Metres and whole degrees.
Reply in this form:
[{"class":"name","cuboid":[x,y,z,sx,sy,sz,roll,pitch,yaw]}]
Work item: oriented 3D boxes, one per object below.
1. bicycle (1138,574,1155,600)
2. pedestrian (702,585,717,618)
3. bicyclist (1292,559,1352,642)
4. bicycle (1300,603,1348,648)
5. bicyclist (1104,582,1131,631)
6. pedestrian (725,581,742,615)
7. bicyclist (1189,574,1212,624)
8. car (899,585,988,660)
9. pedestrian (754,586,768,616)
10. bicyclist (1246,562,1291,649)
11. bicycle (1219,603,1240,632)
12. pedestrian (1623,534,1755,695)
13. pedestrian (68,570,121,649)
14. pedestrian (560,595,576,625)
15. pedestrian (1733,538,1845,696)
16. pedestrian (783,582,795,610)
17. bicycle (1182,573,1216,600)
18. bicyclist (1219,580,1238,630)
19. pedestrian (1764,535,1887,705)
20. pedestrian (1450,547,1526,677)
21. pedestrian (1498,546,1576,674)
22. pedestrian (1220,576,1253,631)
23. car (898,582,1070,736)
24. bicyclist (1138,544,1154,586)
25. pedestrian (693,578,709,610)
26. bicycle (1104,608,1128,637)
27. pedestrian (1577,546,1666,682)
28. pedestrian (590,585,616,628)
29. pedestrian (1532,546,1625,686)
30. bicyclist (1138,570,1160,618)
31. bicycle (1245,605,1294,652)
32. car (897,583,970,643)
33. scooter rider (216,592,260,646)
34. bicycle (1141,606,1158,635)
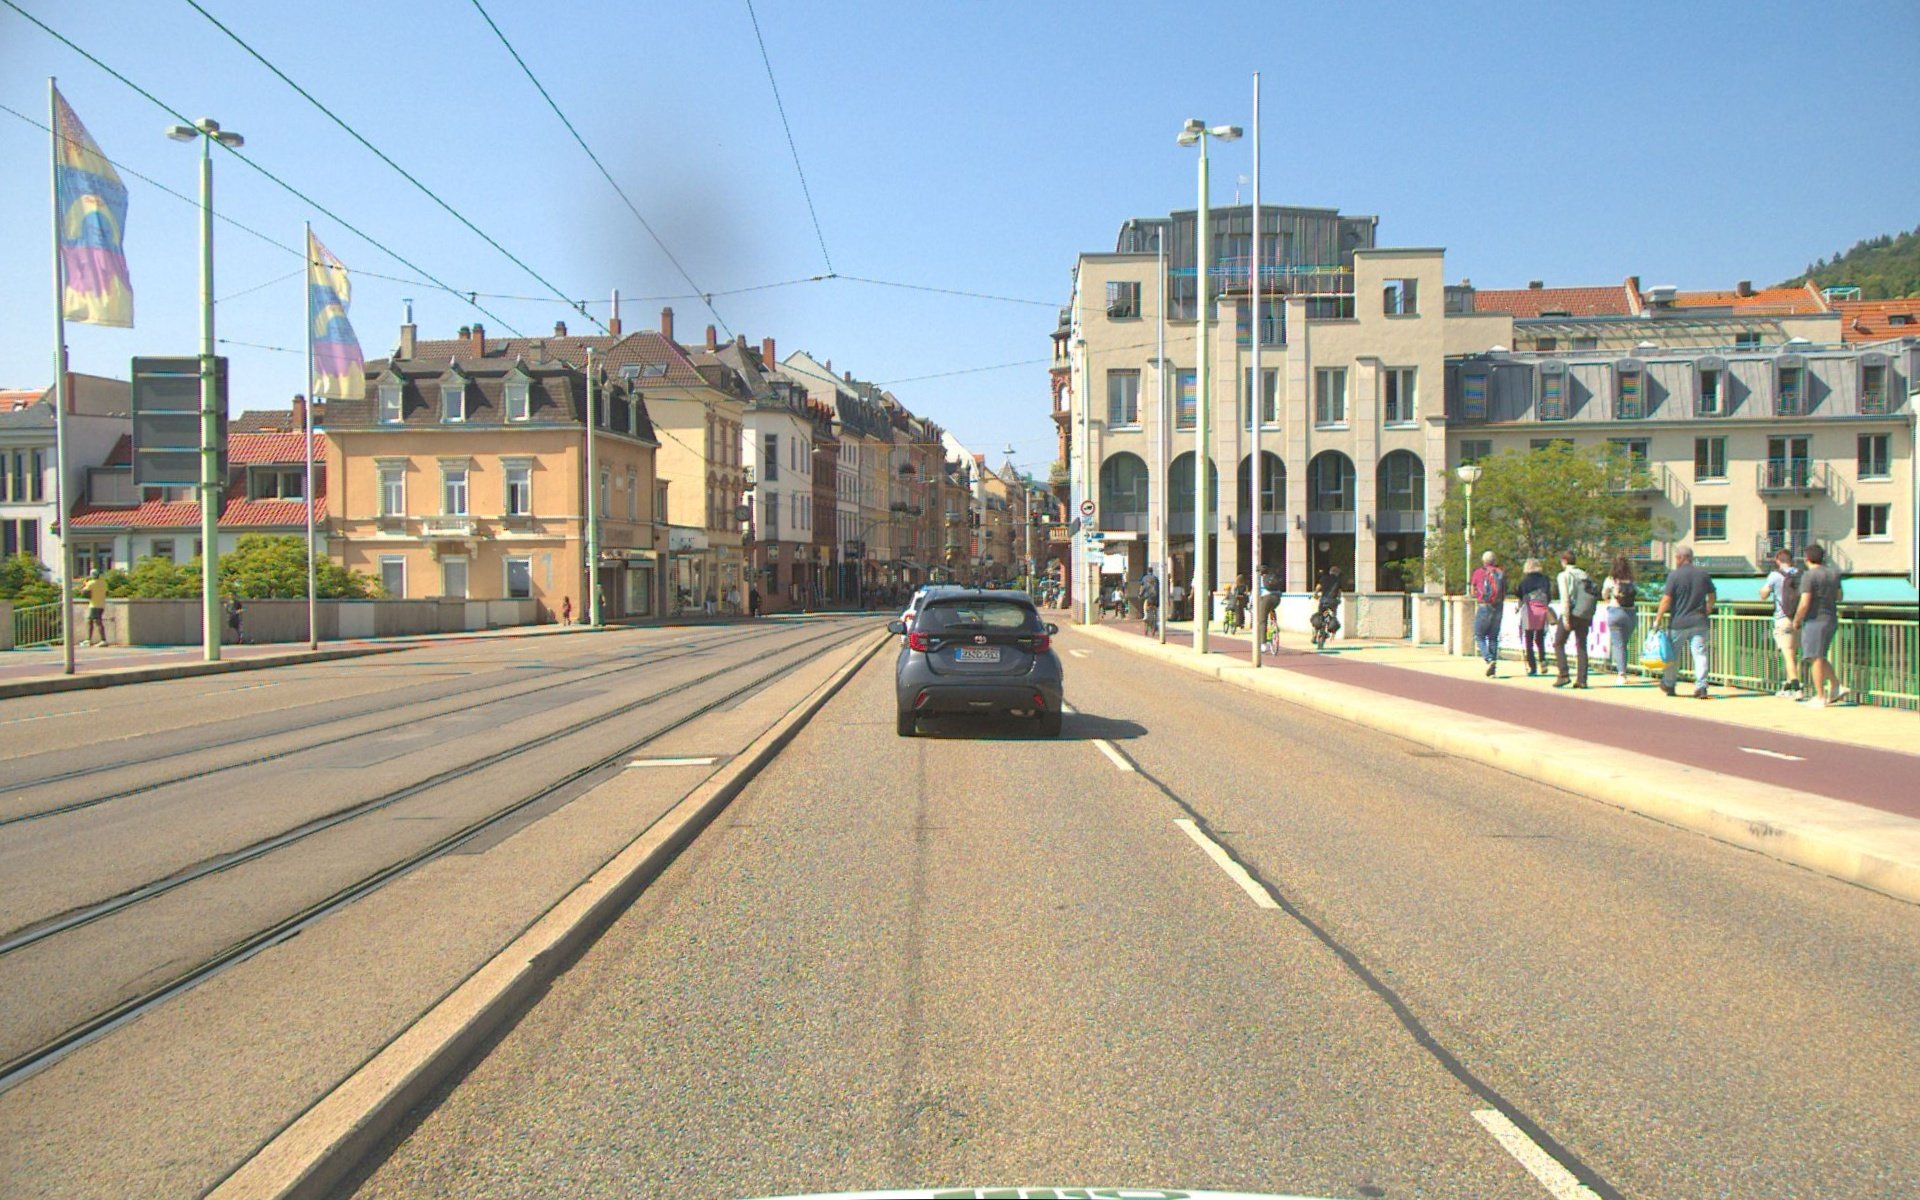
[{"class":"bicycle","cuboid":[5.680,-0.400,50.387,0.407,0.779,0.962,-2,0,2]},{"class":"pedestrian","cuboid":[-12.929,0.091,85.373,0.636,1.629,0.566,4,2,0]},{"class":"bicyclist","cuboid":[7.666,0.007,35.034,1.115,1.725,0.925,-1,0,6]},{"class":"bicycle","cuboid":[7.677,0.526,34.911,0.780,0.898,1.829,-1,0,6]},{"class":"bicyclist","cuboid":[8.529,0.350,89.538,1.203,2.572,1.105,4,0,2]},{"class":"pedestrian","cuboid":[-12.354,-0.121,90.237,0.721,1.797,0.787,4,0,0]},{"class":"bicyclist","cuboid":[7.161,-0.030,49.279,0.480,1.492,0.437,-2,0,-40]},{"class":"car","cuboid":[-0.372,0.457,36.878,1.859,1.557,3.999,1,0,-1]},{"class":"pedestrian","cuboid":[-11.307,0.064,94.065,0.636,1.629,0.566,4,2,0]},{"class":"bicyclist","cuboid":[6.187,0.105,33.204,0.687,1.725,0.924,-1,0,0]},{"class":"bicycle","cuboid":[7.595,0.499,46.709,0.408,0.779,0.961,-2,0,0]},{"class":"pedestrian","cuboid":[8.563,0.159,19.474,0.957,1.808,1.207,-2,0,-1]},{"class":"pedestrian","cuboid":[-20.153,0.225,38.520,0.729,1.812,0.802,-1,0,10]},{"class":"pedestrian","cuboid":[-15.845,0.406,66.842,0.403,1.166,0.545,4,0,7]},{"class":"pedestrian","cuboid":[9.469,0.185,18.925,0.724,1.748,1.015,-1,0,-1]},{"class":"pedestrian","cuboid":[-11.242,-0.276,108.837,0.721,1.797,0.787,0,1,-1]},{"class":"bicycle","cuboid":[7.131,-0.402,49.313,0.414,0.779,0.948,-2,0,-39]},{"class":"bicyclist","cuboid":[7.584,0.136,46.679,0.413,1.407,0.443,-2,0,-1]},{"class":"pedestrian","cuboid":[9.316,0.205,17.839,0.724,1.748,1.015,-2,0,-1]},{"class":"pedestrian","cuboid":[7.713,0.171,24.201,0.724,1.833,1.015,-2,0,-1]},{"class":"pedestrian","cuboid":[8.491,0.141,24.359,0.724,1.808,1.015,-2,0,-1]},{"class":"pedestrian","cuboid":[8.661,0.103,51.833,0.724,1.642,1.015,4,0,-1]},{"class":"car","cuboid":[0.207,0.570,18.200,1.685,1.499,3.657,1,0,-1]},{"class":"bicyclist","cuboid":[5.664,-1.064,50.422,0.413,1.278,0.443,-2,0,2]},{"class":"pedestrian","cuboid":[-13.834,-0.319,88.399,0.636,1.629,0.566,4,2,0]},{"class":"bicycle","cuboid":[8.446,1.196,89.443,1.089,1.444,3.008,4,0,3]},{"class":"pedestrian","cuboid":[8.930,0.180,22.358,0.724,1.777,1.015,-2,0,-1]},{"class":"pedestrian","cuboid":[-14.585,0.258,67.509,0.746,1.682,0.712,4,0,7]},{"class":"pedestrian","cuboid":[7.996,0.195,21.431,0.739,1.748,1.073,-2,0,-1]},{"class":"bicyclist","cuboid":[5.357,-0.177,46.932,0.527,1.339,0.672,-2,0,3]},{"class":"bicycle","cuboid":[6.201,0.562,33.179,0.689,0.898,1.525,-1,0,0]},{"class":"car","cuboid":[-0.719,0.326,45.061,1.859,1.557,3.999,1,0,-1]},{"class":"scooter rider","cuboid":[-18.621,0.493,42.644,0.752,1.338,0.598,4,0,11]},{"class":"bicycle","cuboid":[5.376,0.578,46.894,0.407,0.779,1.206,-2,0,4]}]
